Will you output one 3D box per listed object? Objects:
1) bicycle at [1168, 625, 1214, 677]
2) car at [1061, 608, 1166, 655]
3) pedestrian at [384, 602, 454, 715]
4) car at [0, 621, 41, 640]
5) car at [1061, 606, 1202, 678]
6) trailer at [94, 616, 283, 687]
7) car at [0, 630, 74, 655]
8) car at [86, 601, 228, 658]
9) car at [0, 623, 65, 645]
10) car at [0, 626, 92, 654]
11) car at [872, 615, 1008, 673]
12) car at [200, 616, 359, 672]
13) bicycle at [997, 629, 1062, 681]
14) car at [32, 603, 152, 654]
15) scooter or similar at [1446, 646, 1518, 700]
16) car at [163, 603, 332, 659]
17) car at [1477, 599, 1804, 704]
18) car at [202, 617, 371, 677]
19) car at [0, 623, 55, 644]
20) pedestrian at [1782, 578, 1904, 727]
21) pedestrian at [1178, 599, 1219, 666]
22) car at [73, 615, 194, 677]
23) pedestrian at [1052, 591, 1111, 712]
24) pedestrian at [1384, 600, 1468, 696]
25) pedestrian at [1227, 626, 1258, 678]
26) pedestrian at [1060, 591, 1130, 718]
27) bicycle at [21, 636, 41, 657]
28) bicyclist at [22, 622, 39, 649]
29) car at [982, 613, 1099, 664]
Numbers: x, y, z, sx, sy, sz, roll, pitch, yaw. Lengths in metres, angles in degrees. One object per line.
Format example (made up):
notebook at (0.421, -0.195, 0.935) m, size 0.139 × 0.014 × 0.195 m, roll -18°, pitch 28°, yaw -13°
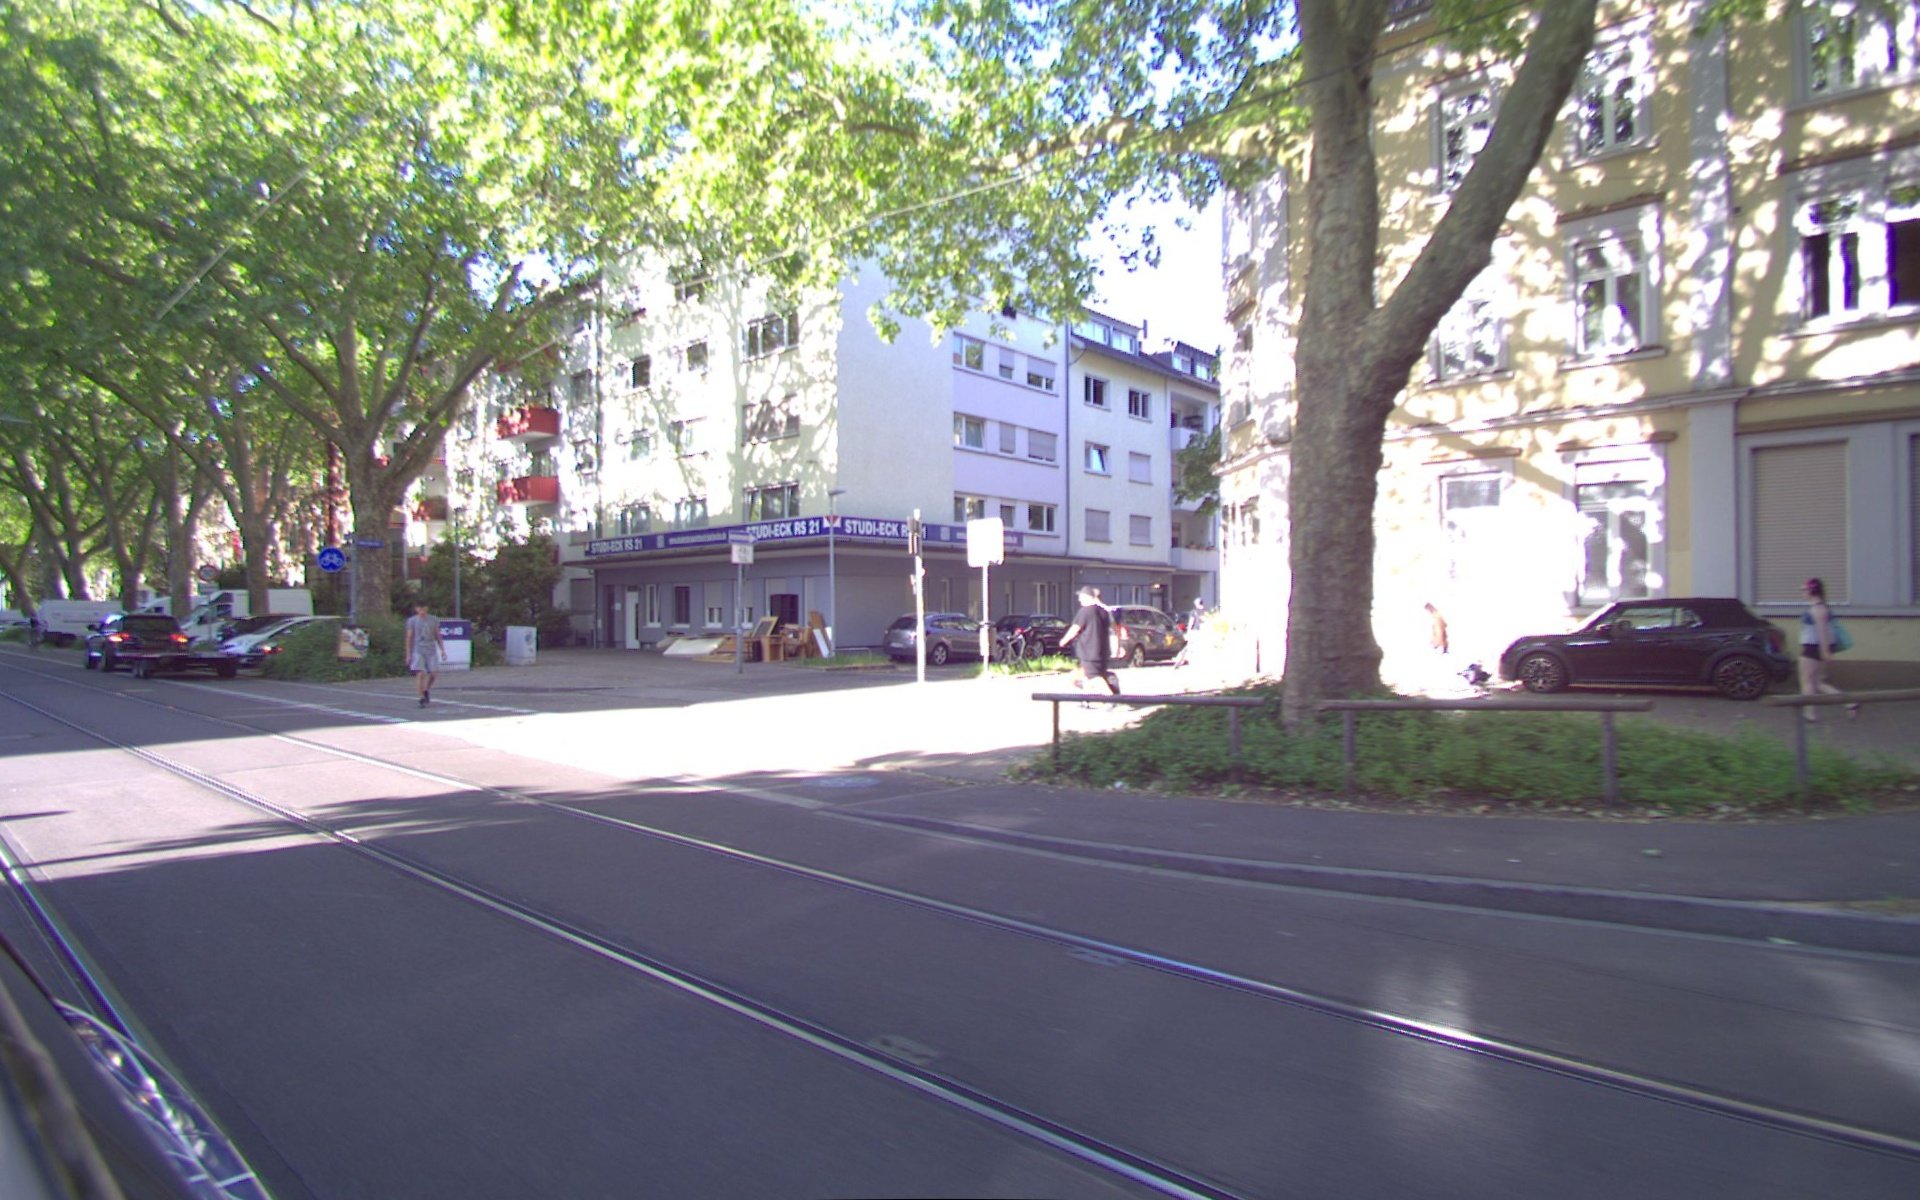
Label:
bicycle at (5.338, 1.145, 23.298) m, size 0.652 × 1.070 × 1.853 m, roll -4°, pitch -2°, yaw 23°
car at (5.749, 1.128, 37.664) m, size 1.999 × 1.618 × 4.100 m, roll -1°, pitch 0°, yaw 40°
pedestrian at (-8.872, 0.934, 16.607) m, size 0.798 × 1.805 × 0.693 m, roll -1°, pitch 0°, yaw 29°
car at (-82.042, 2.633, 87.284) m, size 1.998 × 1.478 × 3.947 m, roll -1°, pitch 0°, yaw 39°
car at (4.583, 1.065, 26.666) m, size 1.799 × 1.650 × 3.960 m, roll -6°, pitch -3°, yaw 40°
trailer at (-20.097, 1.272, 26.225) m, size 6.578 × 1.644 × 2.422 m, roll -1°, pitch -3°, yaw 40°
car at (-61.762, 2.808, 67.367) m, size 1.998 × 1.478 × 3.947 m, roll -1°, pitch 0°, yaw 39°
car at (-35.162, 1.231, 44.414) m, size 1.999 × 2.323 × 4.601 m, roll -1°, pitch 0°, yaw 41°
car at (-68.908, 2.483, 74.713) m, size 1.998 × 1.478 × 3.947 m, roll -1°, pitch 0°, yaw 39°
car at (-55.202, 2.395, 61.087) m, size 1.998 × 1.478 × 3.947 m, roll -1°, pitch 0°, yaw 39°
car at (-0.534, 1.249, 30.201) m, size 1.834 × 1.489 × 4.100 m, roll 1°, pitch 1°, yaw 40°
car at (-22.307, 1.380, 33.278) m, size 1.998 × 1.657 × 3.947 m, roll -1°, pitch 0°, yaw 39°
bicycle at (1.580, 1.208, 22.764) m, size 0.654 × 1.070 × 1.846 m, roll -1°, pitch 0°, yaw 33°
car at (-46.242, 1.476, 53.990) m, size 1.999 × 2.552 × 4.601 m, roll -1°, pitch 0°, yaw 41°
scooter or similar at (8.054, 1.117, 15.617) m, size 0.896 × 0.759 × 0.523 m, roll -1°, pitch 0°, yaw 40°
car at (-27.818, 1.150, 39.680) m, size 1.996 × 2.010 × 5.074 m, roll -1°, pitch 0°, yaw 36°
car at (10.348, 0.712, 15.577) m, size 3.996 × 1.398 × 1.762 m, roll -1°, pitch 0°, yaw 39°
car at (-20.616, 1.386, 31.082) m, size 1.907 × 1.622 × 3.947 m, roll -1°, pitch 0°, yaw 39°
car at (-71.504, 2.518, 76.805) m, size 1.998 × 1.478 × 3.947 m, roll -1°, pitch 0°, yaw 39°
pedestrian at (10.242, 0.586, 11.778) m, size 1.008 × 1.650 × 0.704 m, roll -1°, pitch 0°, yaw 38°
pedestrian at (6.295, 0.846, 26.694) m, size 0.796 × 1.721 × 0.775 m, roll -1°, pitch 0°, yaw 35°
car at (-24.281, 1.318, 29.681) m, size 4.178 × 1.696 × 1.904 m, roll -1°, pitch -3°, yaw 40°
pedestrian at (1.850, 0.764, 15.503) m, size 0.658 × 1.793 × 0.726 m, roll 0°, pitch 0°, yaw -17°
pedestrian at (7.526, 0.746, 16.359) m, size 1.068 × 1.490 × 0.765 m, roll -1°, pitch 0°, yaw 40°
pedestrian at (5.954, 1.091, 21.352) m, size 0.540 × 1.048 × 0.542 m, roll -1°, pitch 0°, yaw 8°
pedestrian at (1.941, 0.755, 14.518) m, size 0.734 × 1.770 × 0.731 m, roll -1°, pitch 0°, yaw 36°
bicycle at (-42.837, 2.143, 46.653) m, size 1.556 × 0.913 × 0.527 m, roll -1°, pitch 0°, yaw 42°
bicyclist at (-42.846, 1.646, 46.659) m, size 0.666 × 1.222 × 0.527 m, roll -1°, pitch 0°, yaw 42°
car at (2.738, 1.242, 33.911) m, size 1.895 × 1.619 × 4.099 m, roll -1°, pitch -1°, yaw 40°
